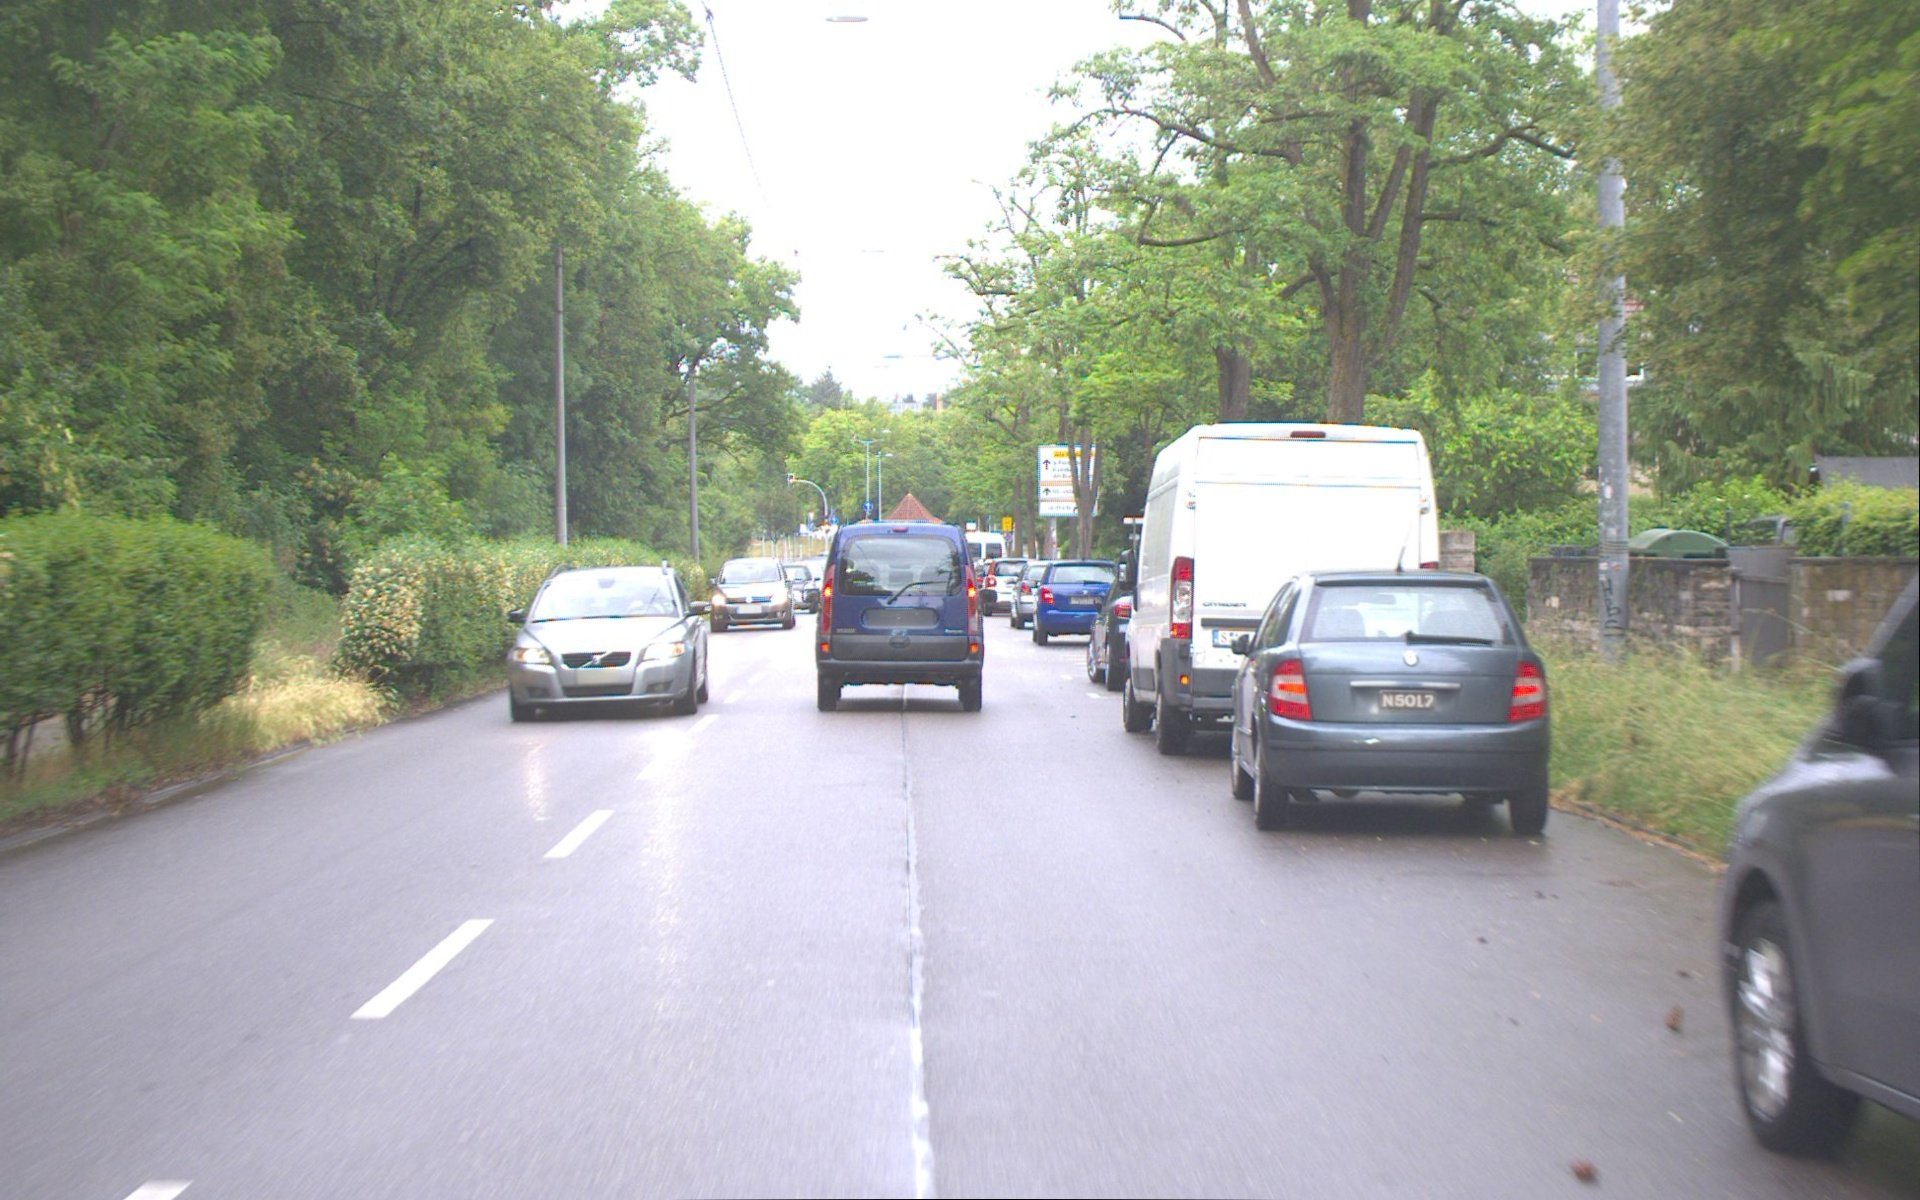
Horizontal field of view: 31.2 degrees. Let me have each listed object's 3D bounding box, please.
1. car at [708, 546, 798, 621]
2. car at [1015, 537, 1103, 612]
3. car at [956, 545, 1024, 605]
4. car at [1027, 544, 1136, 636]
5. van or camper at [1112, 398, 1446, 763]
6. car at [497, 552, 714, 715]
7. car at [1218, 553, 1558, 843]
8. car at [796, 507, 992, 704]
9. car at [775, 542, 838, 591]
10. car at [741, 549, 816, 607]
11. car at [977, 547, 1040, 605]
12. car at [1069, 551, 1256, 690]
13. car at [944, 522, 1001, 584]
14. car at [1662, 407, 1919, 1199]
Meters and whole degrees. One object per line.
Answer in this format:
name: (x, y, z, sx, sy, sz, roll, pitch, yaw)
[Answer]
car: (-4.467, -0.375, 74.626, 1.729, 1.487, 4.001, -2, 2, -1)
car: (2.115, -0.575, 74.305, 1.618, 1.503, 3.835, 1, 2, -2)
car: (0.766, -0.671, 90.257, 1.632, 1.504, 2.958, 1, 2, -2)
car: (2.118, -0.198, 60.808, 1.721, 1.500, 4.050, 1, 2, 0)
van or camper: (2.459, -0.216, 27.913, 2.078, 2.641, 5.346, 1, 2, -1)
car: (-3.418, 0.313, 33.748, 1.783, 1.474, 3.968, -1, 0, -1)
car: (2.412, 0.493, 20.150, 1.626, 1.459, 3.807, 1, 2, 2)
car: (-0.705, 0.007, 34.234, 1.766, 1.824, 3.543, 1, 2, -4)
car: (-5.085, -1.142, 114.182, 1.856, 1.463, 4.447, -3, 2, 0)
car: (-5.126, -0.647, 97.792, 1.856, 1.463, 4.447, -3, 2, 0)
car: (1.374, -0.687, 96.530, 1.698, 1.519, 3.867, 1, 2, 2)
car: (2.329, 0.199, 40.468, 1.740, 1.474, 3.964, 1, 2, -3)
car: (0.482, -1.869, 137.845, 2.205, 2.441, 4.729, 0, 1, -1)
car: (2.941, 0.510, 7.298, 1.814, 1.807, 4.283, 1, 2, -3)
